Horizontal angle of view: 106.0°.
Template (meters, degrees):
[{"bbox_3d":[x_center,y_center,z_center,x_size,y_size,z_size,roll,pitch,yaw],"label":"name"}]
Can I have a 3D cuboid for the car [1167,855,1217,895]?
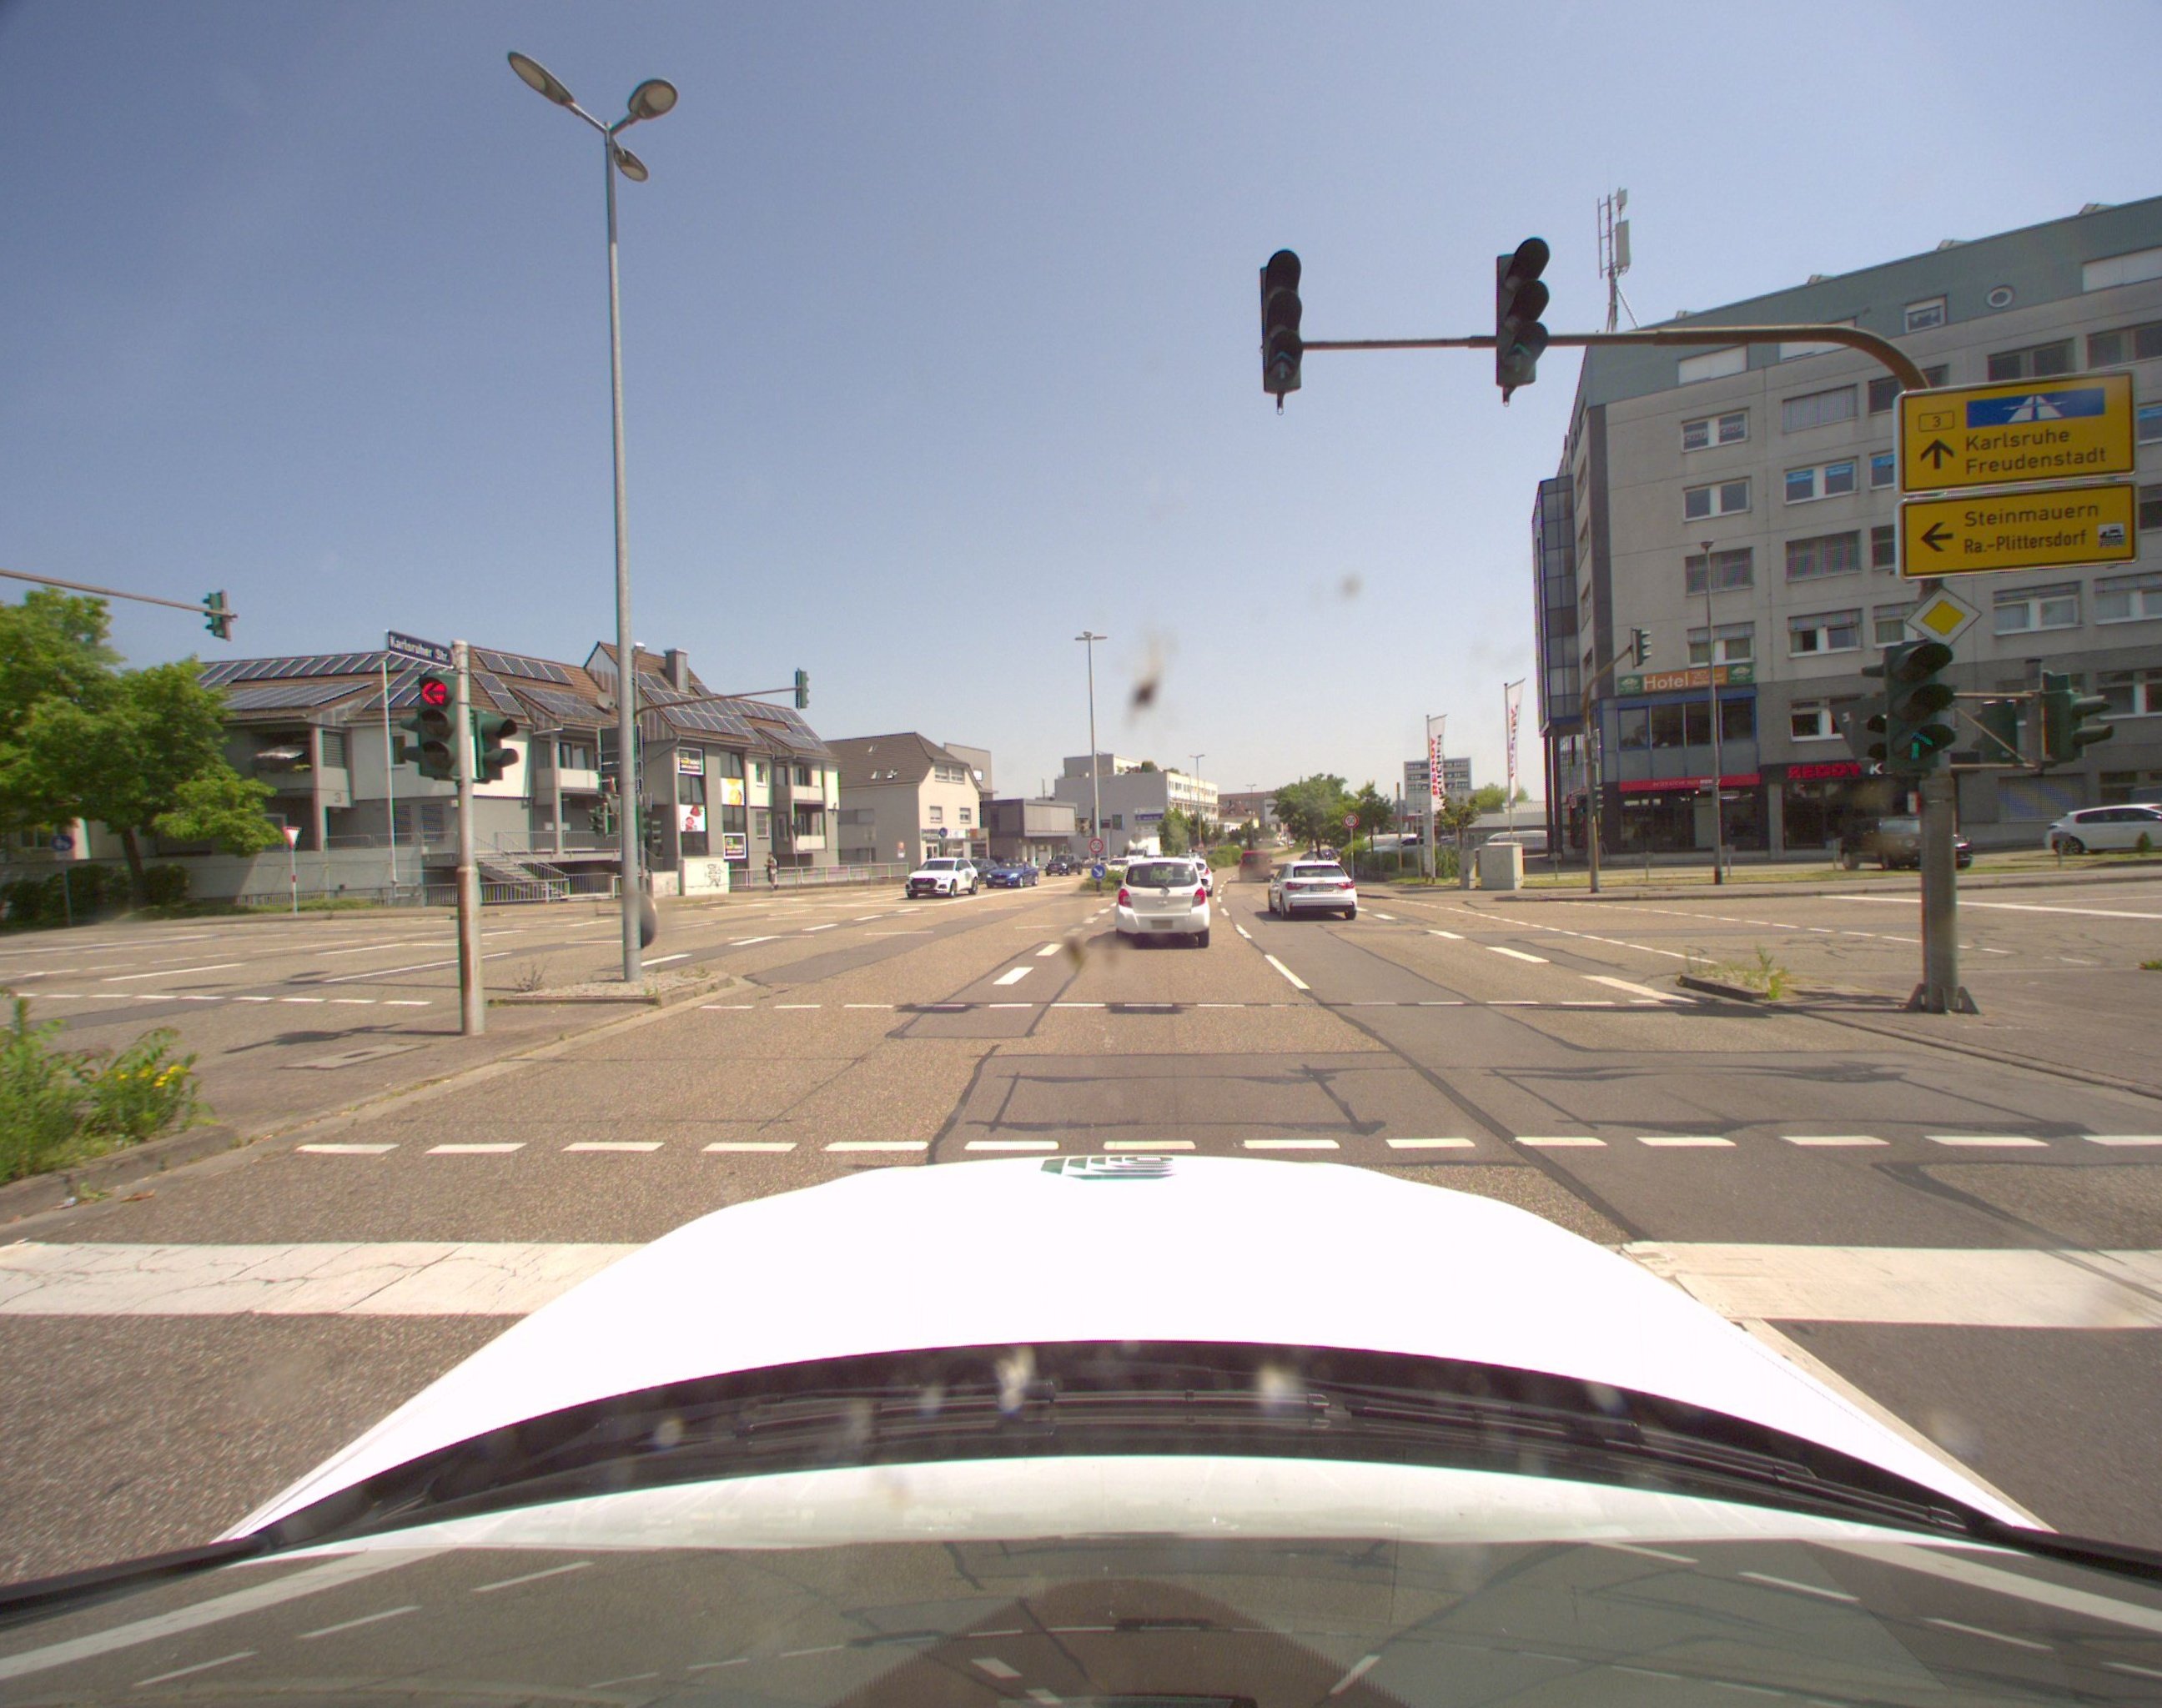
[{"bbox_3d":[4.359,0.788,32.315,1.820,1.450,4.007,-1,0,6],"label":"car"}]

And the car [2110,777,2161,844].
[{"bbox_3d":[34.615,-1.358,23.899,1.890,2.037,5.161,1,0,-18],"label":"car"}]

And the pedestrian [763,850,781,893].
[{"bbox_3d":[-14.762,0.835,38.882,0.500,2.013,0.744,-1,1,5],"label":"pedestrian"}]

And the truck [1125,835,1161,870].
[{"bbox_3d":[6.493,-0.123,84.952,2.247,3.418,7.069,-1,-1,17],"label":"truck"}]

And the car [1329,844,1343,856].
[{"bbox_3d":[37.297,-0.609,119.114,1.699,1.548,4.814,-3,0,19],"label":"car"}]

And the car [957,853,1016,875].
[{"bbox_3d":[-7.929,0.817,68.211,4.567,1.627,1.863,2,1,20],"label":"car"}]

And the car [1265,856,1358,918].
[{"bbox_3d":[5.692,0.757,20.477,1.658,1.399,3.800,-1,0,7],"label":"car"}]

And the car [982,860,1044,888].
[{"bbox_3d":[-3.385,0.990,41.611,1.849,1.366,4.363,-1,0,14],"label":"car"}]

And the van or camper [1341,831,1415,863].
[{"bbox_3d":[29.606,-0.701,81.399,6.738,2.897,2.287,-3,0,20],"label":"van or camper"}]

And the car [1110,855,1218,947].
[{"bbox_3d":[1.427,0.796,15.092,1.706,1.511,3.247,0,-1,1],"label":"car"}]

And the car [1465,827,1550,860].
[{"bbox_3d":[33.891,-0.805,64.950,5.833,2.528,2.132,-1,-1,24],"label":"car"}]

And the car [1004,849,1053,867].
[{"bbox_3d":[-4.809,0.351,74.717,4.024,1.521,2.009,-2,-1,18],"label":"car"}]

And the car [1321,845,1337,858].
[{"bbox_3d":[33.047,-0.355,108.468,1.839,1.481,5.181,-2,1,18],"label":"car"}]

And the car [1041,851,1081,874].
[{"bbox_3d":[-1.503,0.624,62.272,1.980,1.656,4.608,-2,0,11],"label":"car"}]

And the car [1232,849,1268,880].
[{"bbox_3d":[9.697,0.584,46.876,1.784,1.729,3.982,-1,0,8],"label":"car"}]

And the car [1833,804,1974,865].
[{"bbox_3d":[25.283,-0.555,25.233,1.525,1.675,4.353,-2,0,24],"label":"car"}]

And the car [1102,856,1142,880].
[{"bbox_3d":[2.680,0.887,52.310,1.850,1.431,4.760,-1,0,12],"label":"car"}]

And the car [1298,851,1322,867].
[{"bbox_3d":[21.034,0.446,74.825,1.782,1.406,4.342,0,0,20],"label":"car"}]

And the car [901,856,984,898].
[{"bbox_3d":[-5.542,0.890,33.189,1.805,1.570,4.570,-1,0,11],"label":"car"}]

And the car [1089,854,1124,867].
[{"bbox_3d":[3.052,0.817,97.900,3.956,1.459,1.582,-2,-1,16],"label":"car"}]

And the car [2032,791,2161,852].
[{"bbox_3d":[31.747,-0.991,24.205,1.543,1.533,4.198,0,-5,-18],"label":"car"}]

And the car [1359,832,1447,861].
[{"bbox_3d":[19.947,-0.450,50.551,4.716,1.713,1.997,0,-1,-4],"label":"car"}]
